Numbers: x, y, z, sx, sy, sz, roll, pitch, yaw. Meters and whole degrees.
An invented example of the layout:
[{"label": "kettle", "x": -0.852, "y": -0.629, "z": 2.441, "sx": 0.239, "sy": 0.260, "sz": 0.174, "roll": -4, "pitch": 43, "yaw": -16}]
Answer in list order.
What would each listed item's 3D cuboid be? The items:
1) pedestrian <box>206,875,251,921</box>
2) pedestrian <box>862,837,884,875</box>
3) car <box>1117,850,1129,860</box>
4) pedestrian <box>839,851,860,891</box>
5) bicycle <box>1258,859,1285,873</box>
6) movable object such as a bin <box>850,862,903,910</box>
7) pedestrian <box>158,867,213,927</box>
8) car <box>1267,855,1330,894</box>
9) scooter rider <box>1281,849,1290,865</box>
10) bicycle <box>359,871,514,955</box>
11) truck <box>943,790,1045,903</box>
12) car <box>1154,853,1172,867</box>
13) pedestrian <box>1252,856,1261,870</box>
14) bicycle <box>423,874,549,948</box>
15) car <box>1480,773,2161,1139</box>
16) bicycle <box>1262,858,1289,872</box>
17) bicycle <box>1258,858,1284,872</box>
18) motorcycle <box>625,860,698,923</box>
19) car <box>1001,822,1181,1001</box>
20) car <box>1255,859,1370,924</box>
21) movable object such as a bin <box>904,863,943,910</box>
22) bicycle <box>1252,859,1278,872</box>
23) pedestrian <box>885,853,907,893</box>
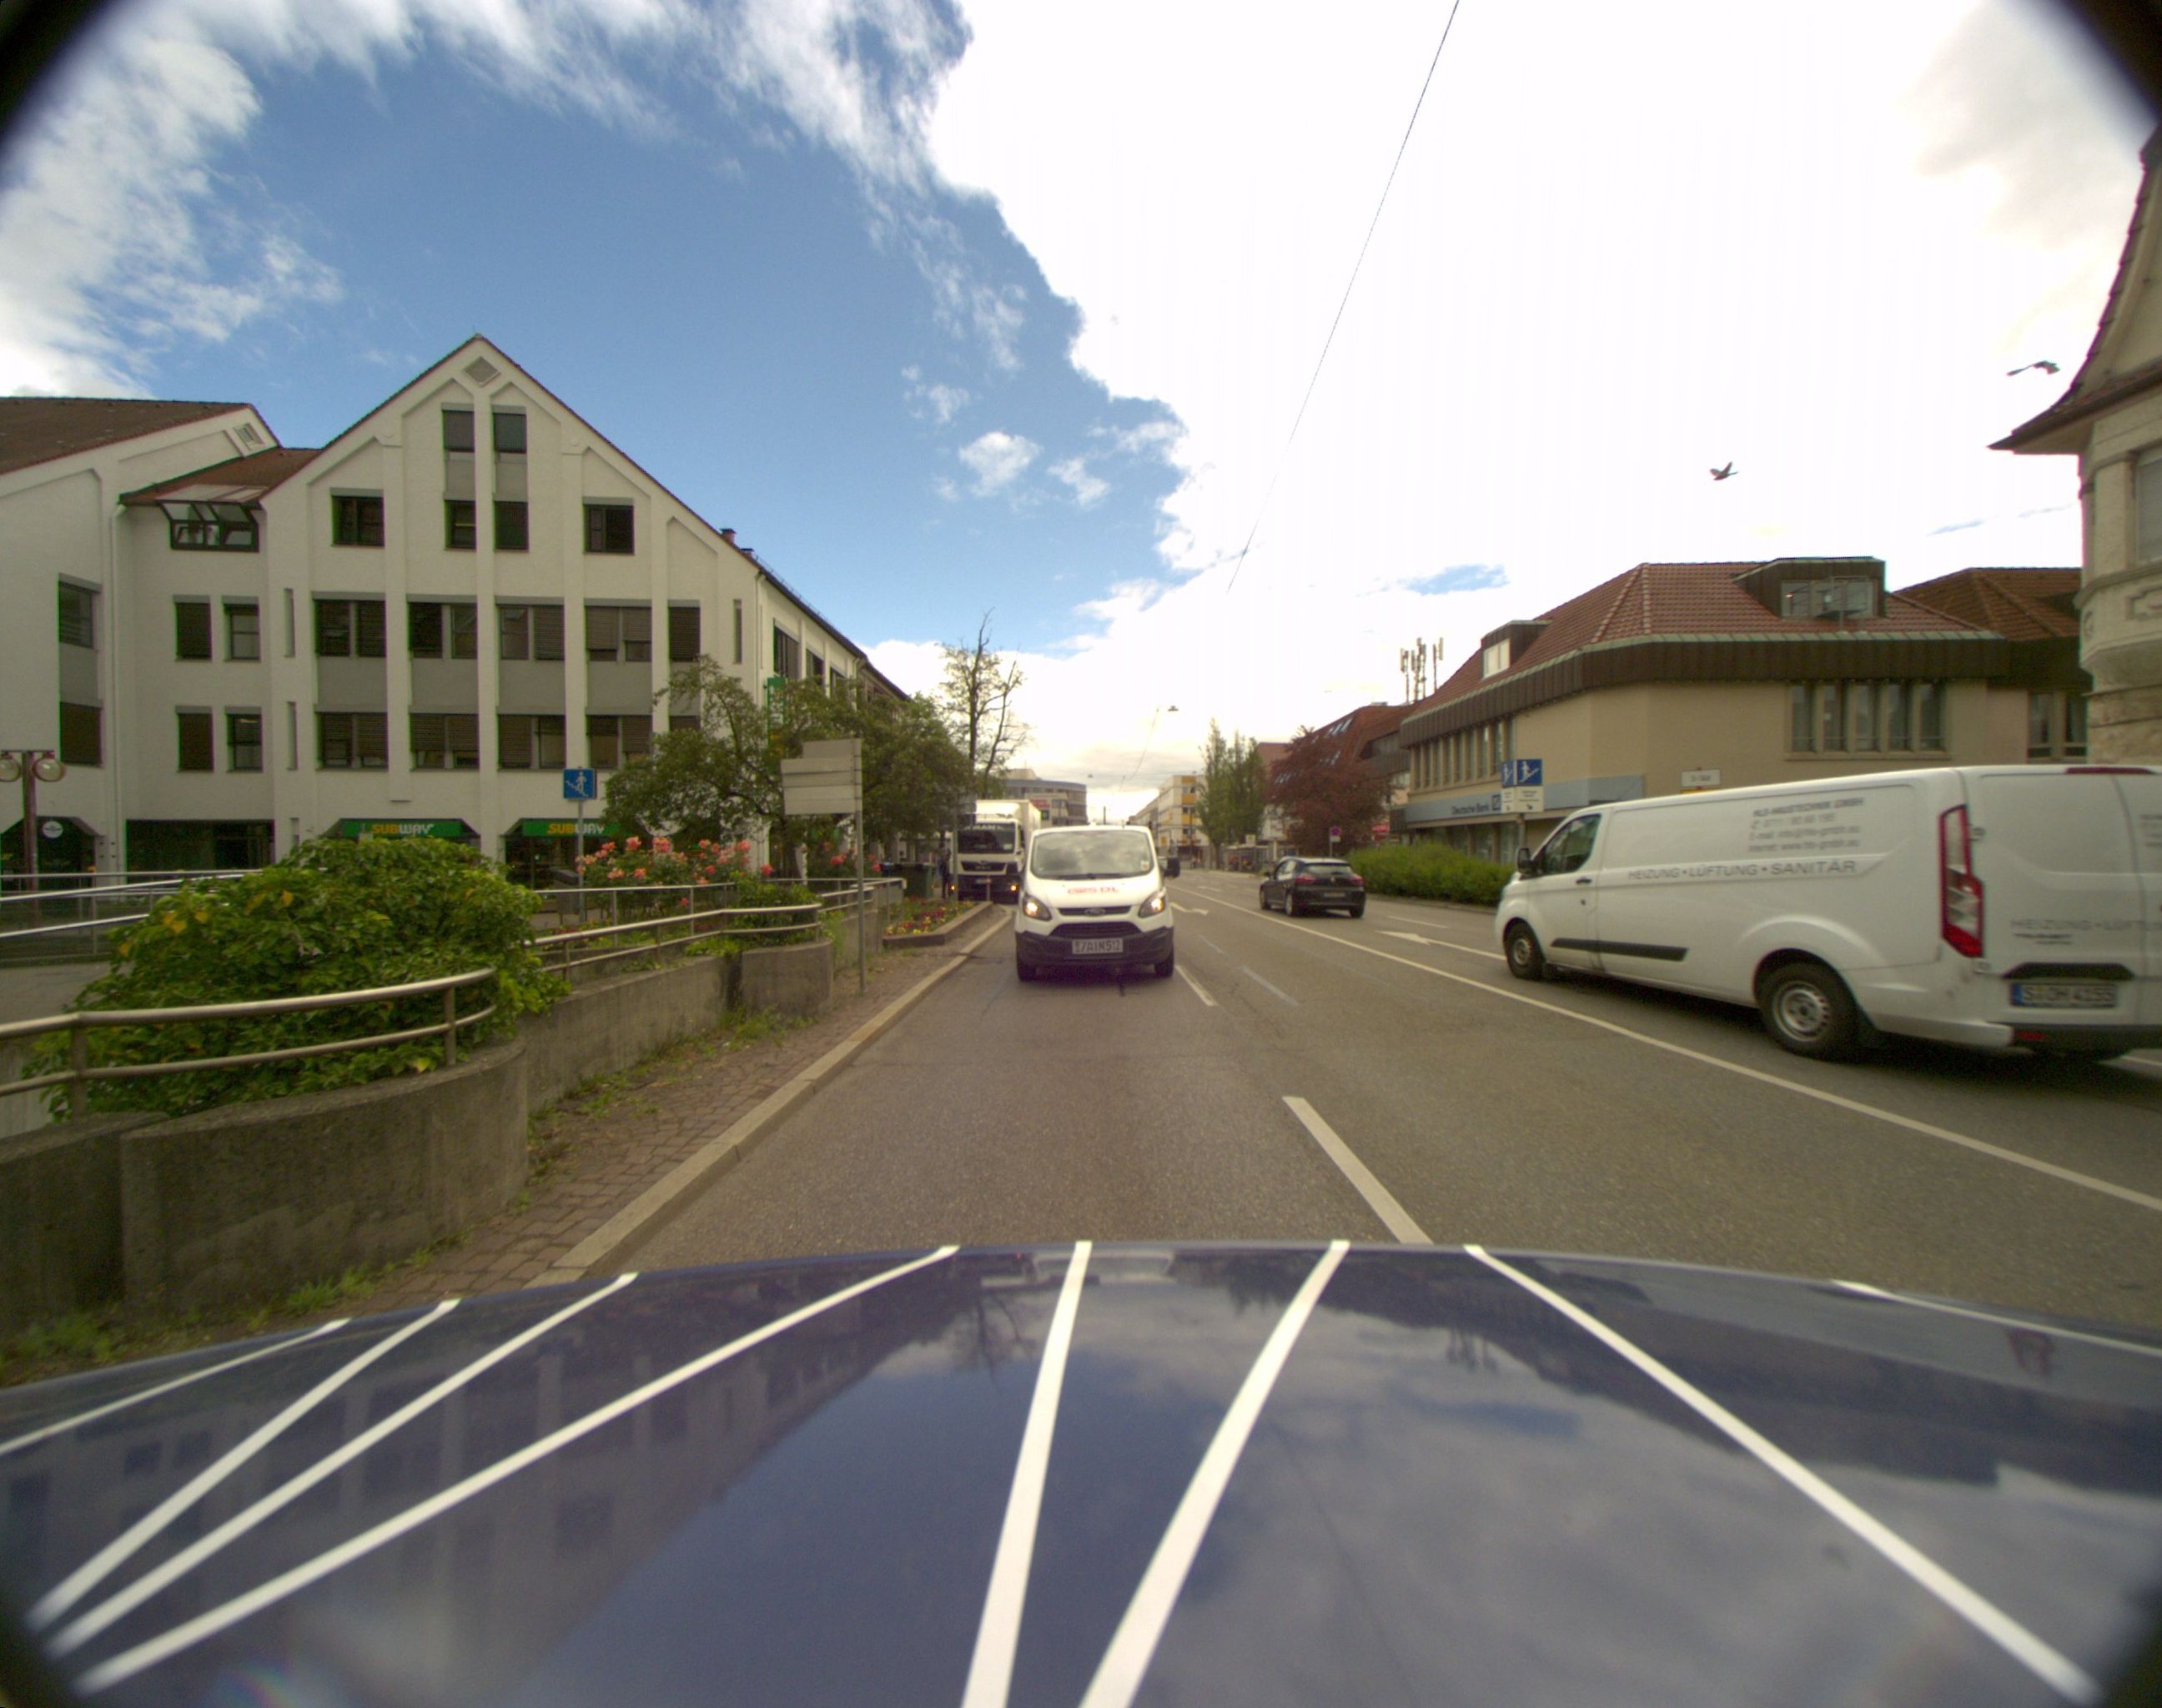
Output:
[{"label": "pedestrian", "x": -23.095, "y": 1.186, "z": 20.593, "sx": 0.620, "sy": 1.193, "sz": 0.513, "roll": 0, "pitch": 1, "yaw": -2}, {"label": "pedestrian", "x": -8.746, "y": 0.090, "z": 31.944, "sx": 0.745, "sy": 1.593, "sz": 0.574, "roll": 0, "pitch": 1, "yaw": -2}, {"label": "car", "x": 7.756, "y": 0.182, "z": 140.356, "sx": 2.074, "sy": 1.728, "sz": 4.693, "roll": 2, "pitch": 0, "yaw": 1}, {"label": "pedestrian", "x": -9.199, "y": 0.664, "z": 30.158, "sx": 0.574, "sy": 1.593, "sz": 0.746, "roll": 0, "pitch": 1, "yaw": 1}, {"label": "bicycle", "x": 15.162, "y": 0.931, "z": 60.466, "sx": 2.024, "sy": 1.084, "sz": 0.648, "roll": 0, "pitch": 0, "yaw": -9}, {"label": "movable object such as a bin", "x": -6.009, "y": 0.923, "z": 22.453, "sx": 1.146, "sy": 1.331, "sz": 1.376, "roll": 0, "pitch": 0, "yaw": 2}, {"label": "pedestrian", "x": -22.383, "y": 1.065, "z": 19.005, "sx": 0.608, "sy": 1.467, "sz": 0.620, "roll": 0, "pitch": 1, "yaw": -4}, {"label": "car", "x": 9.055, "y": 0.817, "z": 31.861, "sx": 1.621, "sy": 1.514, "sz": 3.507, "roll": 1, "pitch": 0, "yaw": 0}, {"label": "scooter rider", "x": 21.991, "y": 0.306, "z": 81.669, "sx": 0.614, "sy": 1.702, "sz": 0.588, "roll": -3, "pitch": 0, "yaw": -3}, {"label": "bicycle", "x": -10.725, "y": 0.967, "z": 12.709, "sx": 1.821, "sy": 1.319, "sz": 0.843, "roll": 0, "pitch": 0, "yaw": -3}, {"label": "truck", "x": -2.950, "y": -0.232, "z": 28.701, "sx": 2.695, "sy": 3.540, "sz": 9.766, "roll": 0, "pitch": 0, "yaw": 0}, {"label": "car", "x": 9.541, "y": 0.691, "z": 88.484, "sx": 1.644, "sy": 1.559, "sz": 3.926, "roll": 2, "pitch": 0, "yaw": 0}, {"label": "pedestrian", "x": 16.536, "y": 0.833, "z": 71.445, "sx": 0.713, "sy": 1.356, "sz": 0.588, "roll": -1, "pitch": 0, "yaw": 2}, {"label": "bicycle", "x": -10.629, "y": 1.000, "z": 13.604, "sx": 1.679, "sy": 1.251, "sz": 0.669, "roll": 0, "pitch": 0, "yaw": -3}, {"label": "car", "x": 5.877, "y": 0.552, "z": 6.648, "sx": 1.966, "sy": 1.949, "sz": 5.139, "roll": 1, "pitch": 0, "yaw": -1}, {"label": "bicycle", "x": 15.727, "y": 0.908, "z": 61.354, "sx": 2.024, "sy": 1.084, "sz": 0.648, "roll": 0, "pitch": 0, "yaw": -9}, {"label": "bicycle", "x": 15.826, "y": 0.908, "z": 63.256, "sx": 2.024, "sy": 1.084, "sz": 0.648, "roll": 0, "pitch": 0, "yaw": -9}, {"label": "motorcycle", "x": -10.200, "y": 0.882, "z": 18.554, "sx": 0.722, "sy": 1.430, "sz": 1.945, "roll": 0, "pitch": 0, "yaw": -2}, {"label": "car", "x": 0.258, "y": 0.661, "z": 11.076, "sx": 1.998, "sy": 2.002, "sz": 5.000, "roll": -1, "pitch": 0, "yaw": 3}, {"label": "car", "x": 5.609, "y": 0.855, "z": 18.919, "sx": 1.621, "sy": 1.420, "sz": 3.922, "roll": 0, "pitch": 0, "yaw": -1}, {"label": "movable object such as a bin", "x": -4.585, "y": 0.931, "z": 22.233, "sx": 0.883, "sy": 1.331, "sz": 1.085, "roll": 0, "pitch": 0, "yaw": 2}, {"label": "bicycle", "x": 15.589, "y": 0.941, "z": 64.311, "sx": 2.024, "sy": 1.084, "sz": 0.649, "roll": 0, "pitch": 0, "yaw": -4}, {"label": "pedestrian", "x": -7.533, "y": 0.753, "z": 30.900, "sx": 0.747, "sy": 1.593, "sz": 0.573, "roll": -1, "pitch": 1, "yaw": -28}]
